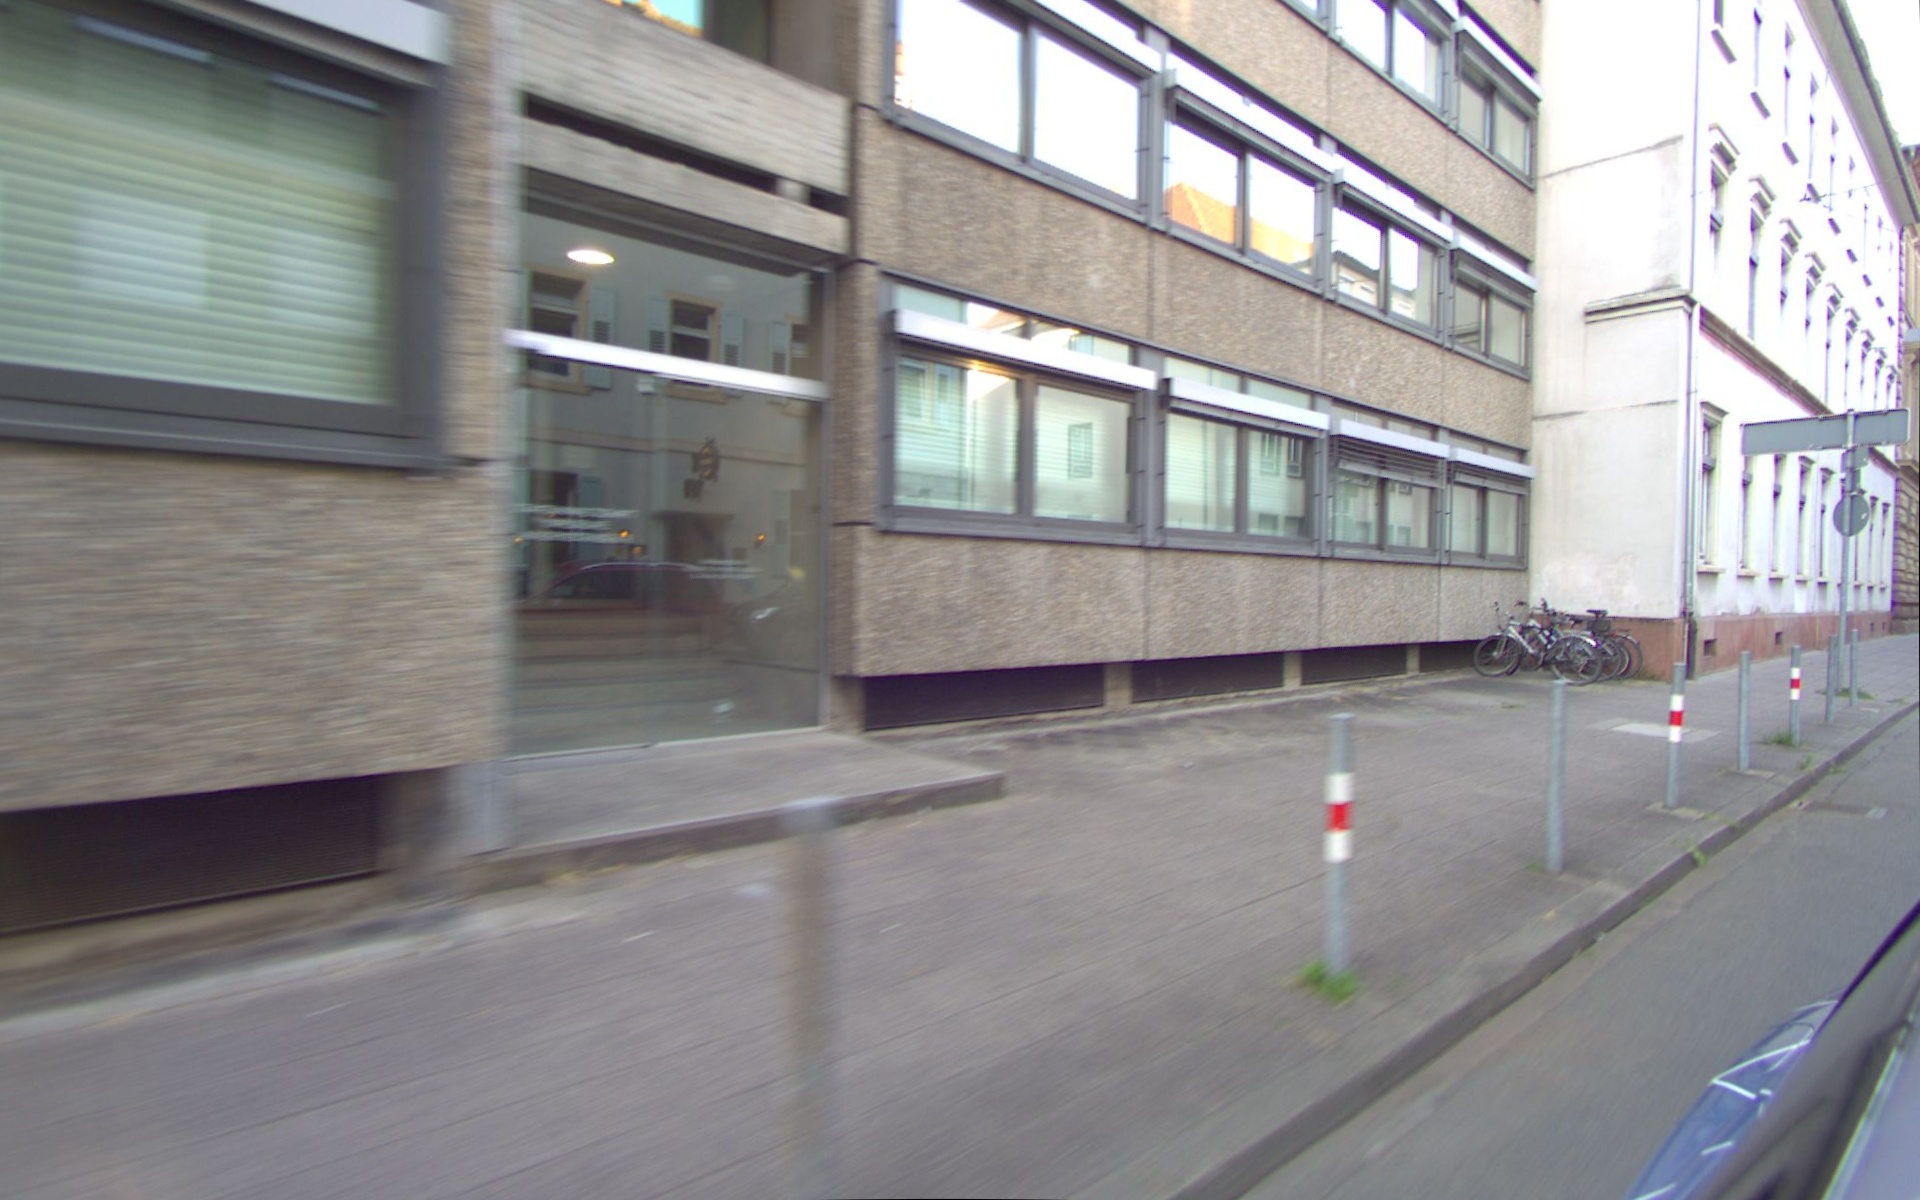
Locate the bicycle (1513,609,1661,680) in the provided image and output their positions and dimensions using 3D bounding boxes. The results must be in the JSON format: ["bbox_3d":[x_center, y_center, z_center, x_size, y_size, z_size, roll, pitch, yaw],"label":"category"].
[{"bbox_3d":[9.215,0.628,14.909,1.794,0.934,0.530,1,1,42],"label":"bicycle"}]

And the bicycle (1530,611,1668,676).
[{"bbox_3d":[10.039,0.662,15.949,0.390,0.934,1.796,0,1,-45],"label":"bicycle"}]

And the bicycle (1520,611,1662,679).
[{"bbox_3d":[9.660,0.668,15.532,1.794,0.934,0.509,1,1,42],"label":"bicycle"}]

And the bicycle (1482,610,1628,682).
[{"bbox_3d":[8.500,0.633,14.512,1.738,0.934,0.530,1,1,42],"label":"bicycle"}]
